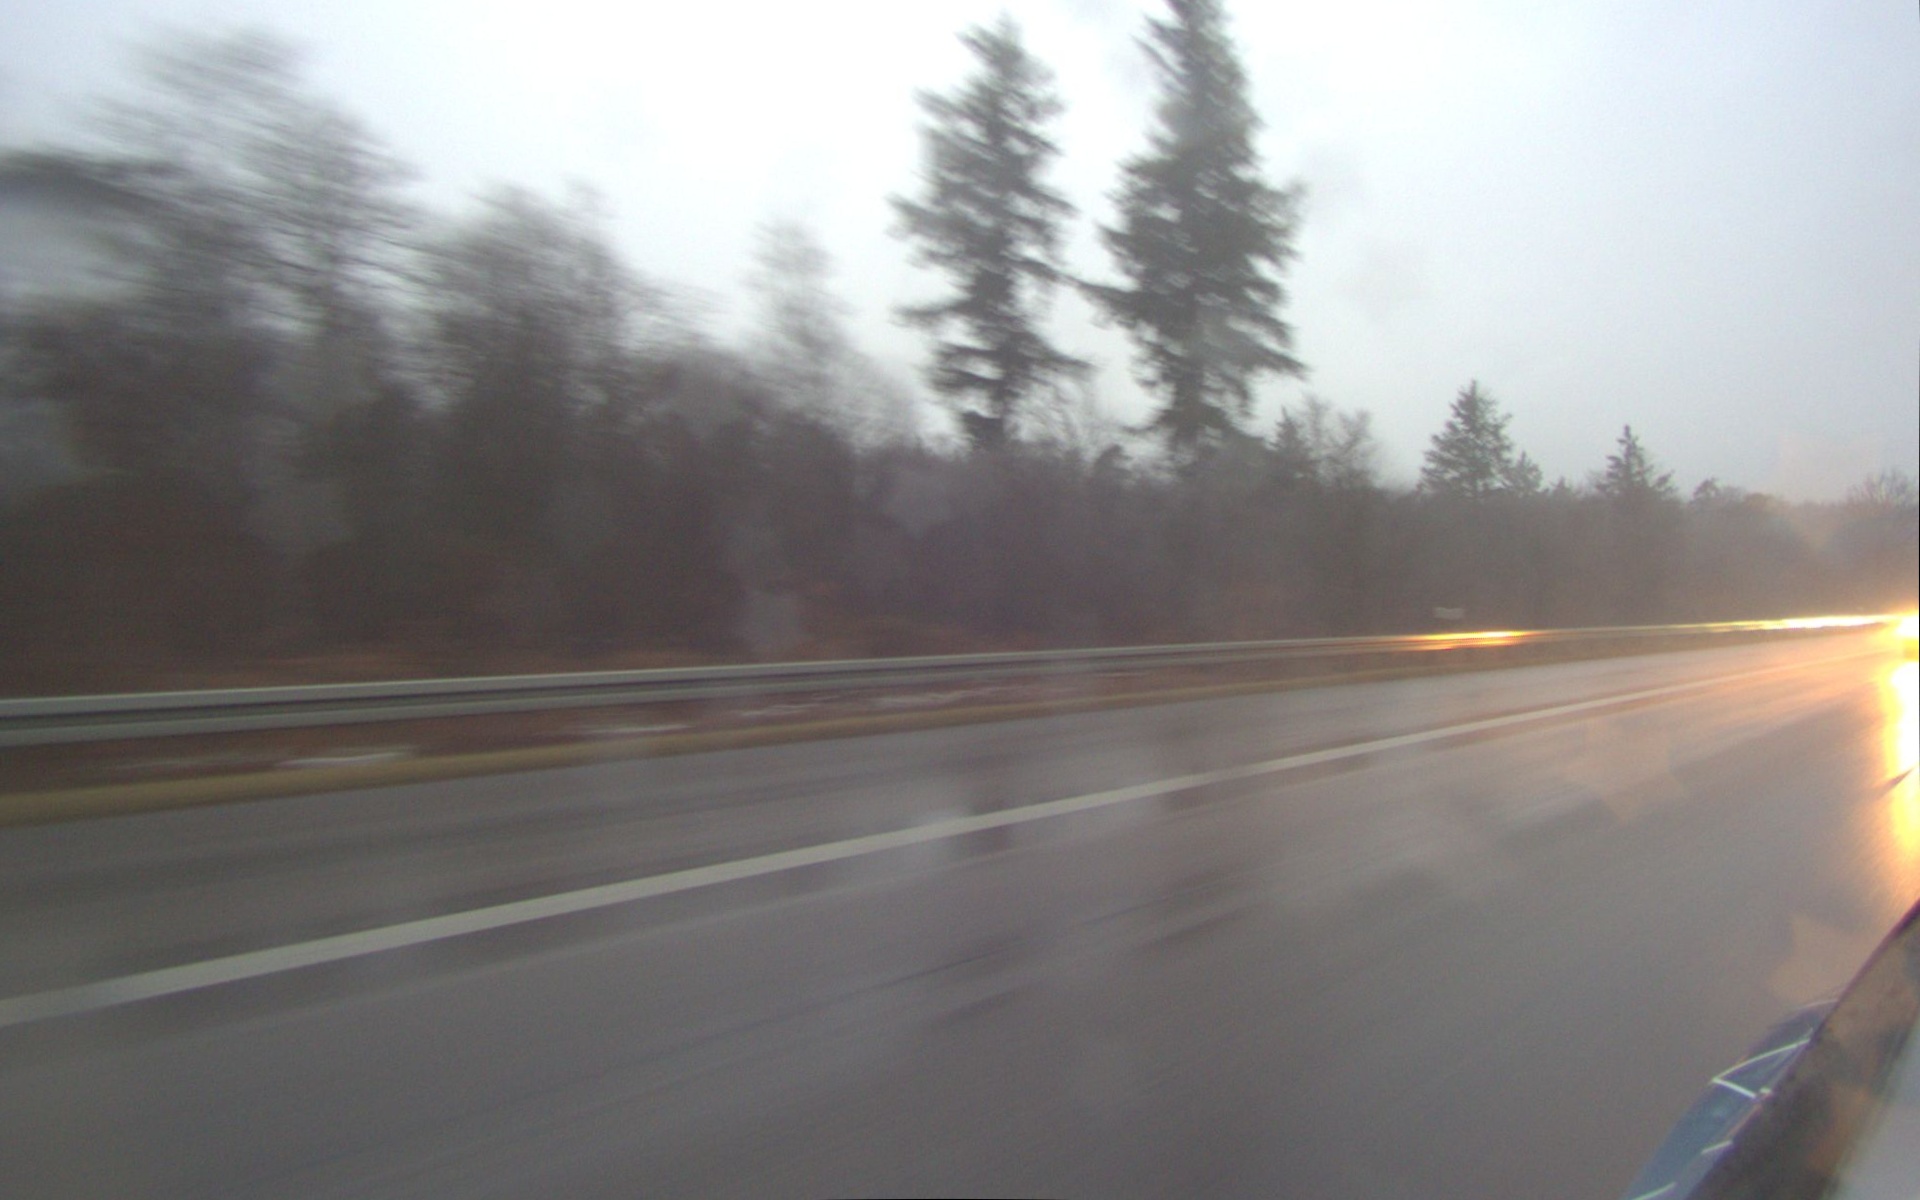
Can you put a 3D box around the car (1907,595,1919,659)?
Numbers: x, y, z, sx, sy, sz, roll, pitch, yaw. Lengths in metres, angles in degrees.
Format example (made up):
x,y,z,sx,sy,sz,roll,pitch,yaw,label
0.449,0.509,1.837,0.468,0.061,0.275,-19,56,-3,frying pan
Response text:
x,y,z,sx,sy,sz,roll,pitch,yaw,label
28.163,0.736,28.151,4.381,1.719,2.075,0,0,-39,car
